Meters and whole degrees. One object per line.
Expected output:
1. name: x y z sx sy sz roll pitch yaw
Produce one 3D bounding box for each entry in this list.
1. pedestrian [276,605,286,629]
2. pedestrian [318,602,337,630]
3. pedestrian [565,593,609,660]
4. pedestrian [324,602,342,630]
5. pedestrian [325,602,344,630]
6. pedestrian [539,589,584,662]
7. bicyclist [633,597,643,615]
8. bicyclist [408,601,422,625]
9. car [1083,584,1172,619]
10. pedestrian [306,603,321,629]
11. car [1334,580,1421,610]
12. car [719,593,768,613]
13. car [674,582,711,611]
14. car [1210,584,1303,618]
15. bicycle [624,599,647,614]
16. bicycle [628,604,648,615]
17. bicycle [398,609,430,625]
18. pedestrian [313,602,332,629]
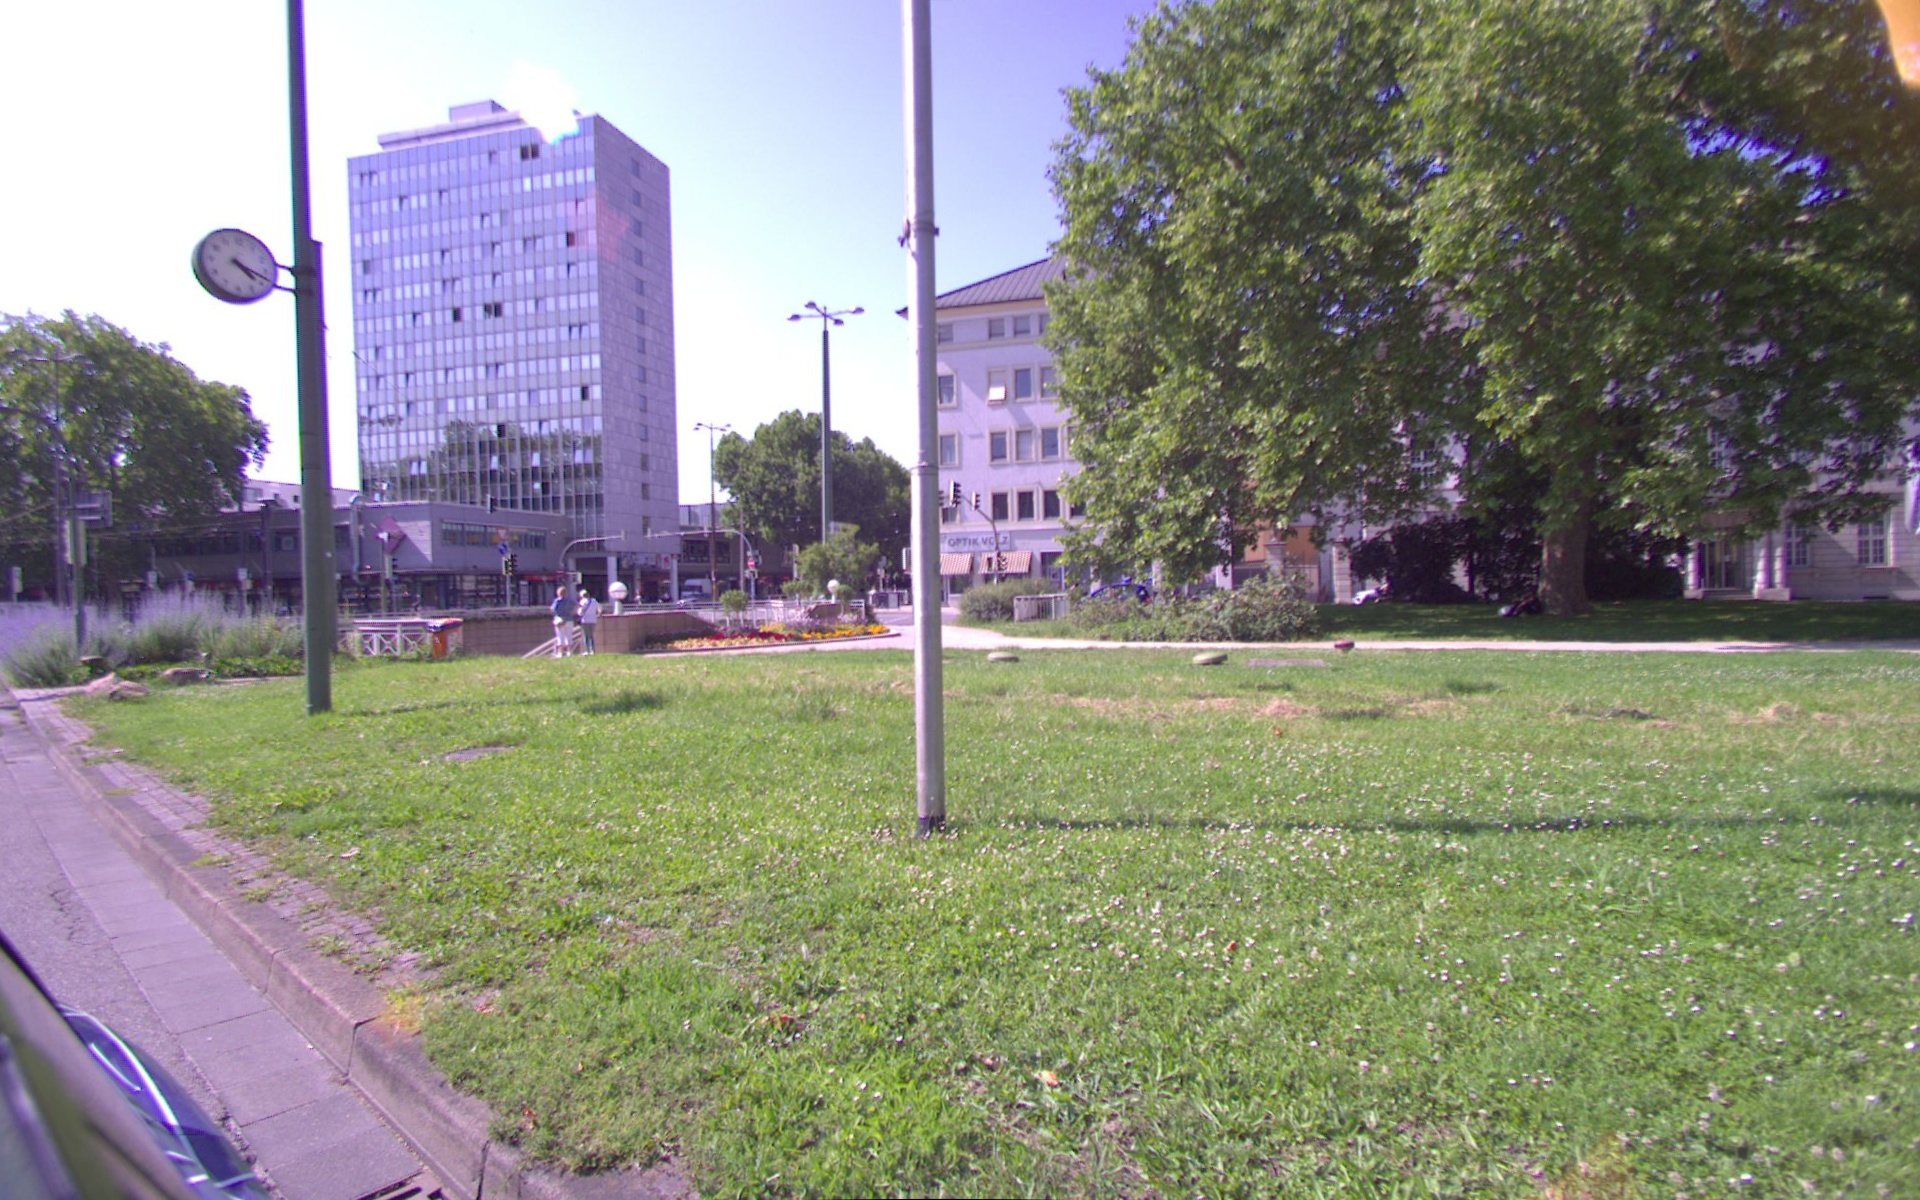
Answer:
1. pedestrian: -46.874 1.179 69.841 0.556 1.650 0.601 -1 0 -37
2. pedestrian: -43.305 1.087 69.241 0.728 1.850 0.820 -1 0 14
3. pedestrian: -8.684 0.604 23.584 0.473 1.521 0.843 -1 1 27
4. pedestrian: -42.569 1.092 68.719 0.665 1.850 0.820 -1 0 14
5. pedestrian: -41.986 1.083 67.926 0.665 1.850 0.820 -1 0 14
6. pedestrian: -9.053 0.569 22.997 0.597 1.605 0.686 -1 1 27
7. bicyclist: -28.148 0.516 88.491 0.579 1.538 0.678 0 1 26
8. bicyclist: -39.868 0.965 74.027 0.674 1.700 0.584 -2 1 -45
9. car: 7.105 0.055 42.800 3.552 1.356 1.604 -2 1 15
10. pedestrian: -45.534 1.130 71.273 0.810 1.820 0.673 -1 0 -37
11. car: 18.764 -0.239 45.607 3.377 1.248 1.510 -2 1 15
12. car: -18.212 0.207 85.148 1.874 1.545 4.040 -1 1 28
13. car: -27.524 -0.375 104.150 1.730 2.938 4.618 -2 1 12
14. car: 12.088 0.039 41.393 3.552 1.278 1.604 -2 1 15
15. bicycle: -29.021 0.577 90.470 0.714 1.309 1.919 0 2 32
16. bicycle: -28.139 0.836 88.512 0.589 0.889 1.795 0 2 25
17. bicycle: -39.907 1.259 73.989 0.577 1.110 1.940 -1 1 45
18. pedestrian: -44.051 1.093 69.937 0.665 1.850 0.819 -1 0 16
